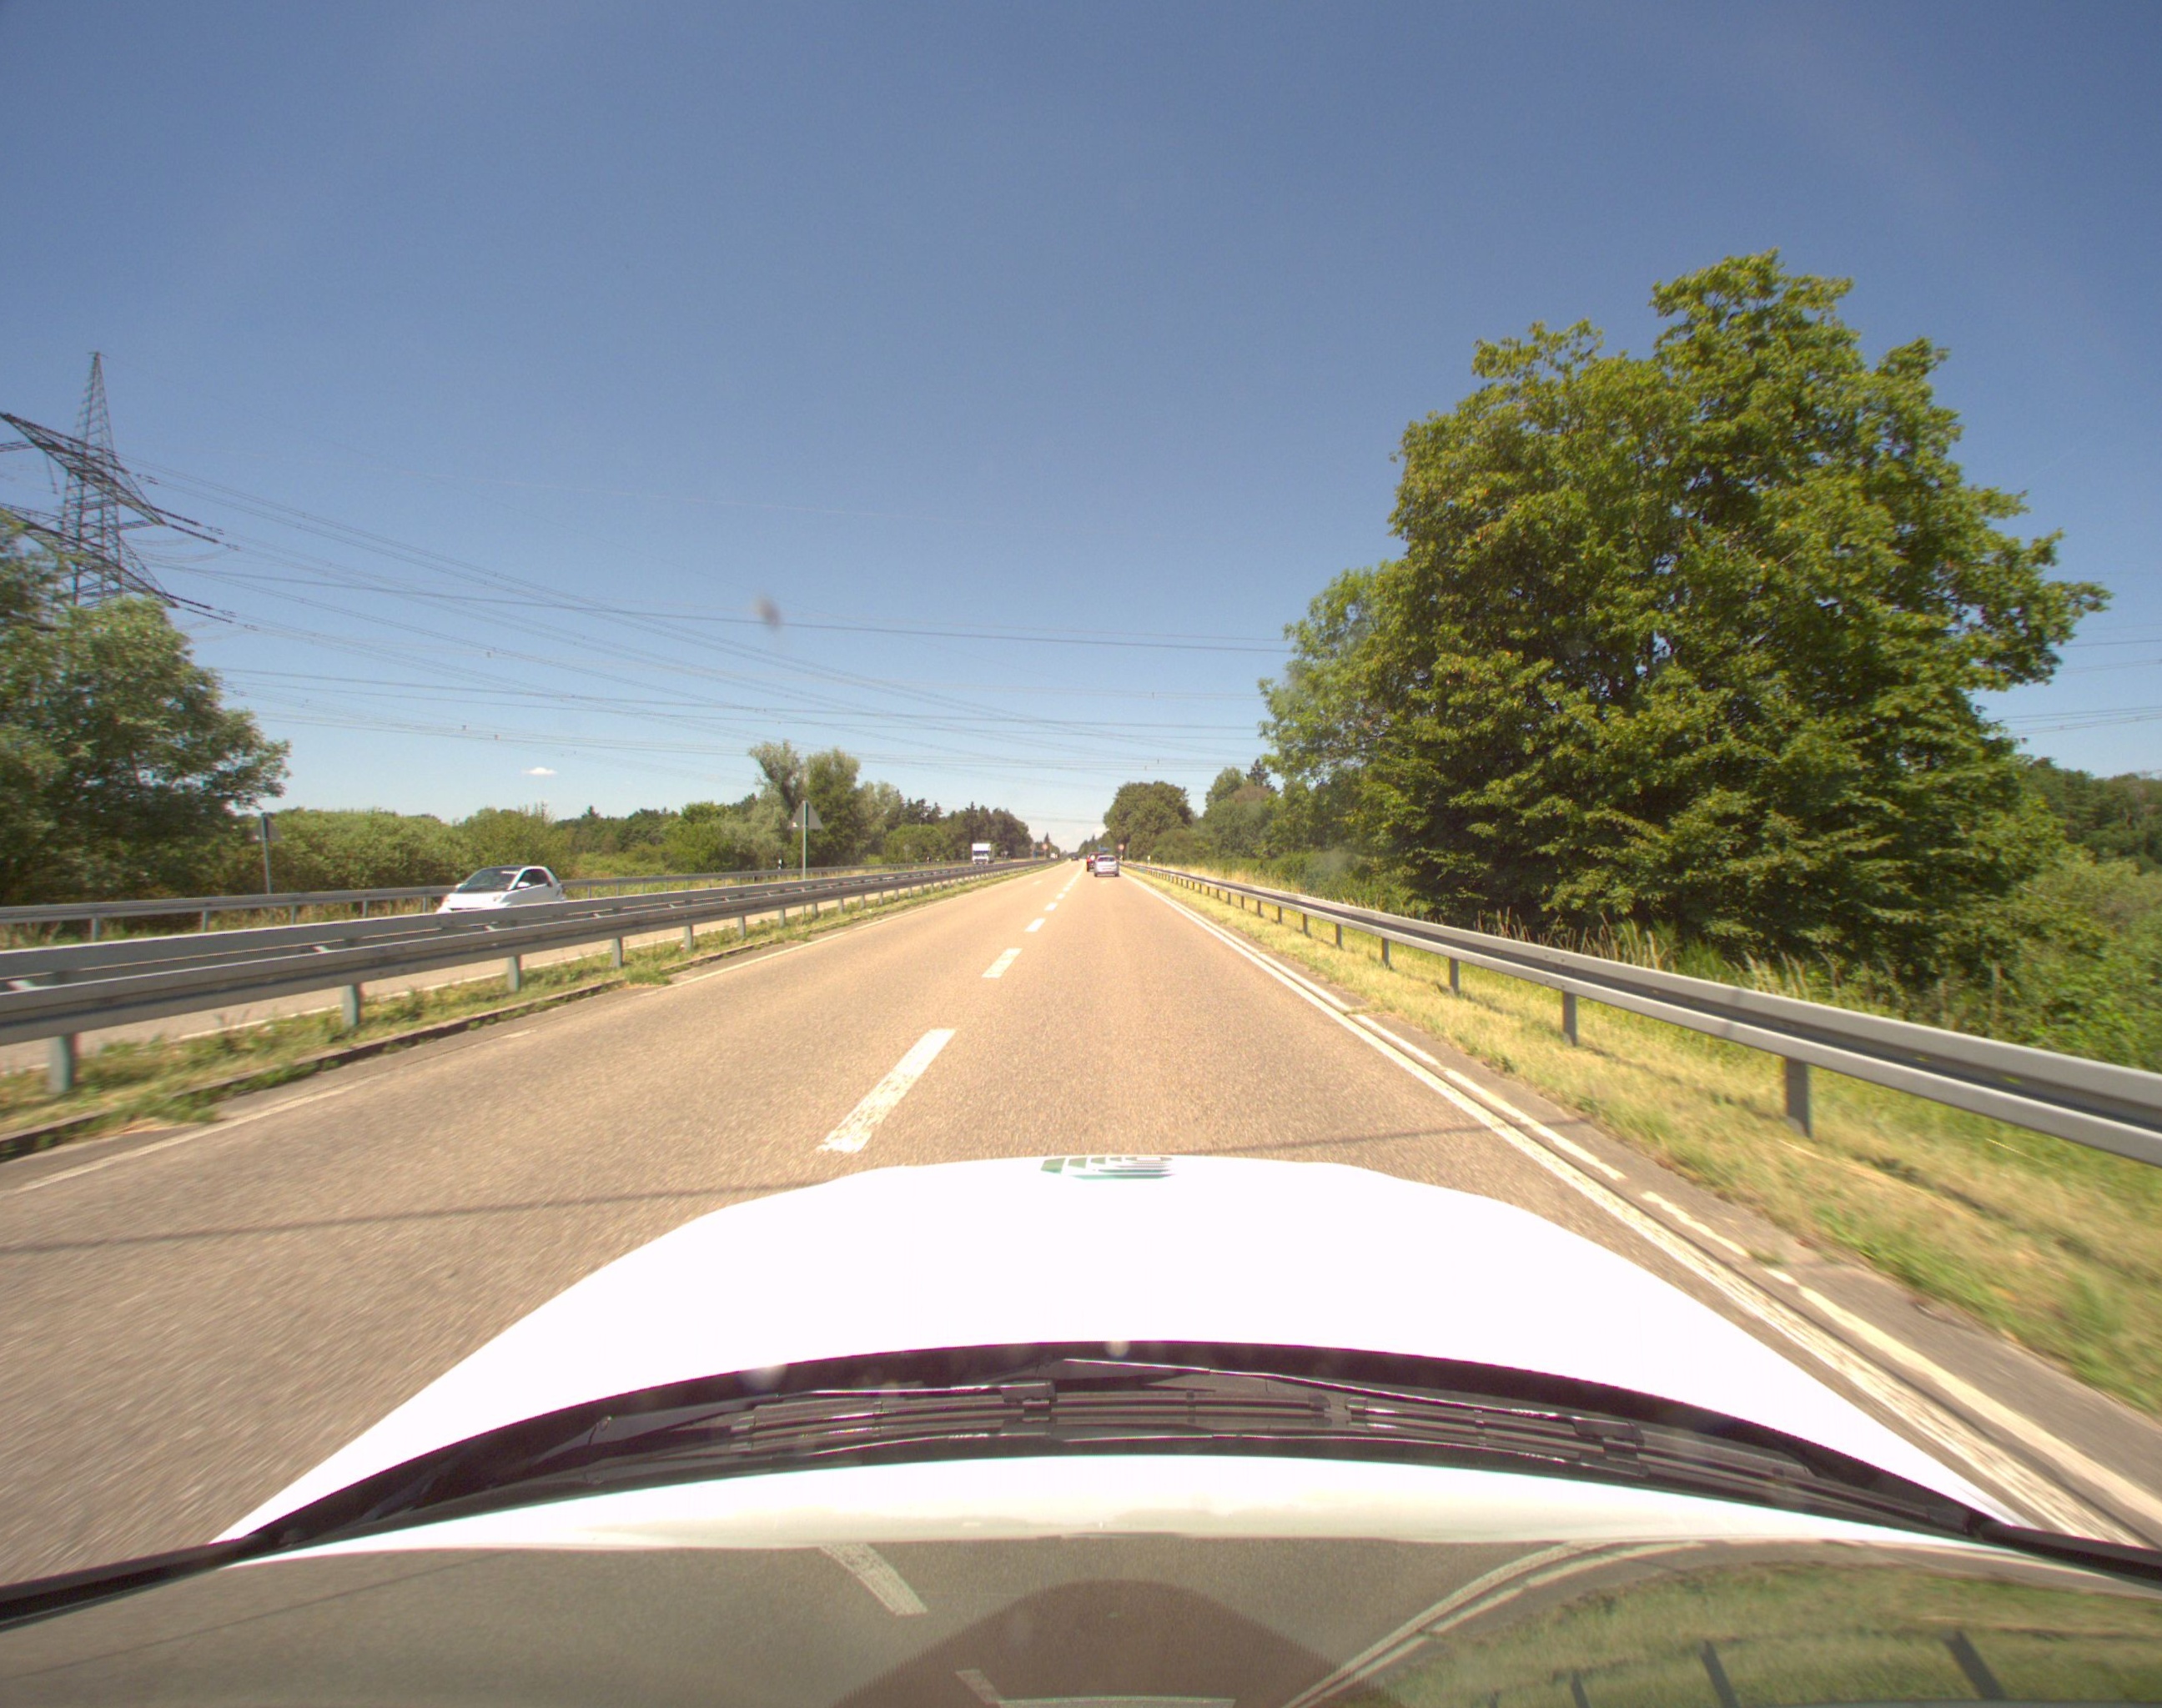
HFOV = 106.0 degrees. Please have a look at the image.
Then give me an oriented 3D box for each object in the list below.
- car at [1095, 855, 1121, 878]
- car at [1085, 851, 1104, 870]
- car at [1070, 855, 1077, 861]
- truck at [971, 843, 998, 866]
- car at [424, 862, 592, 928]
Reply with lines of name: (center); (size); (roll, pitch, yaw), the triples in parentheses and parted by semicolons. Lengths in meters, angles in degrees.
car: (1.833, 0.858, 56.080); (1.634, 1.468, 3.419); (2, 0, 1)
car: (1.249, 0.607, 75.530); (1.635, 1.654, 3.573); (2, 0, 0)
car: (-1.749, 0.916, 197.824); (1.707, 1.471, 3.573); (2, 0, 0)
truck: (-13.687, 0.112, 115.831); (2.709, 3.193, 8.406); (-1, 0, 1)
car: (-14.155, 0.958, 20.392); (1.527, 1.449, 3.702); (-1, 0, 1)
